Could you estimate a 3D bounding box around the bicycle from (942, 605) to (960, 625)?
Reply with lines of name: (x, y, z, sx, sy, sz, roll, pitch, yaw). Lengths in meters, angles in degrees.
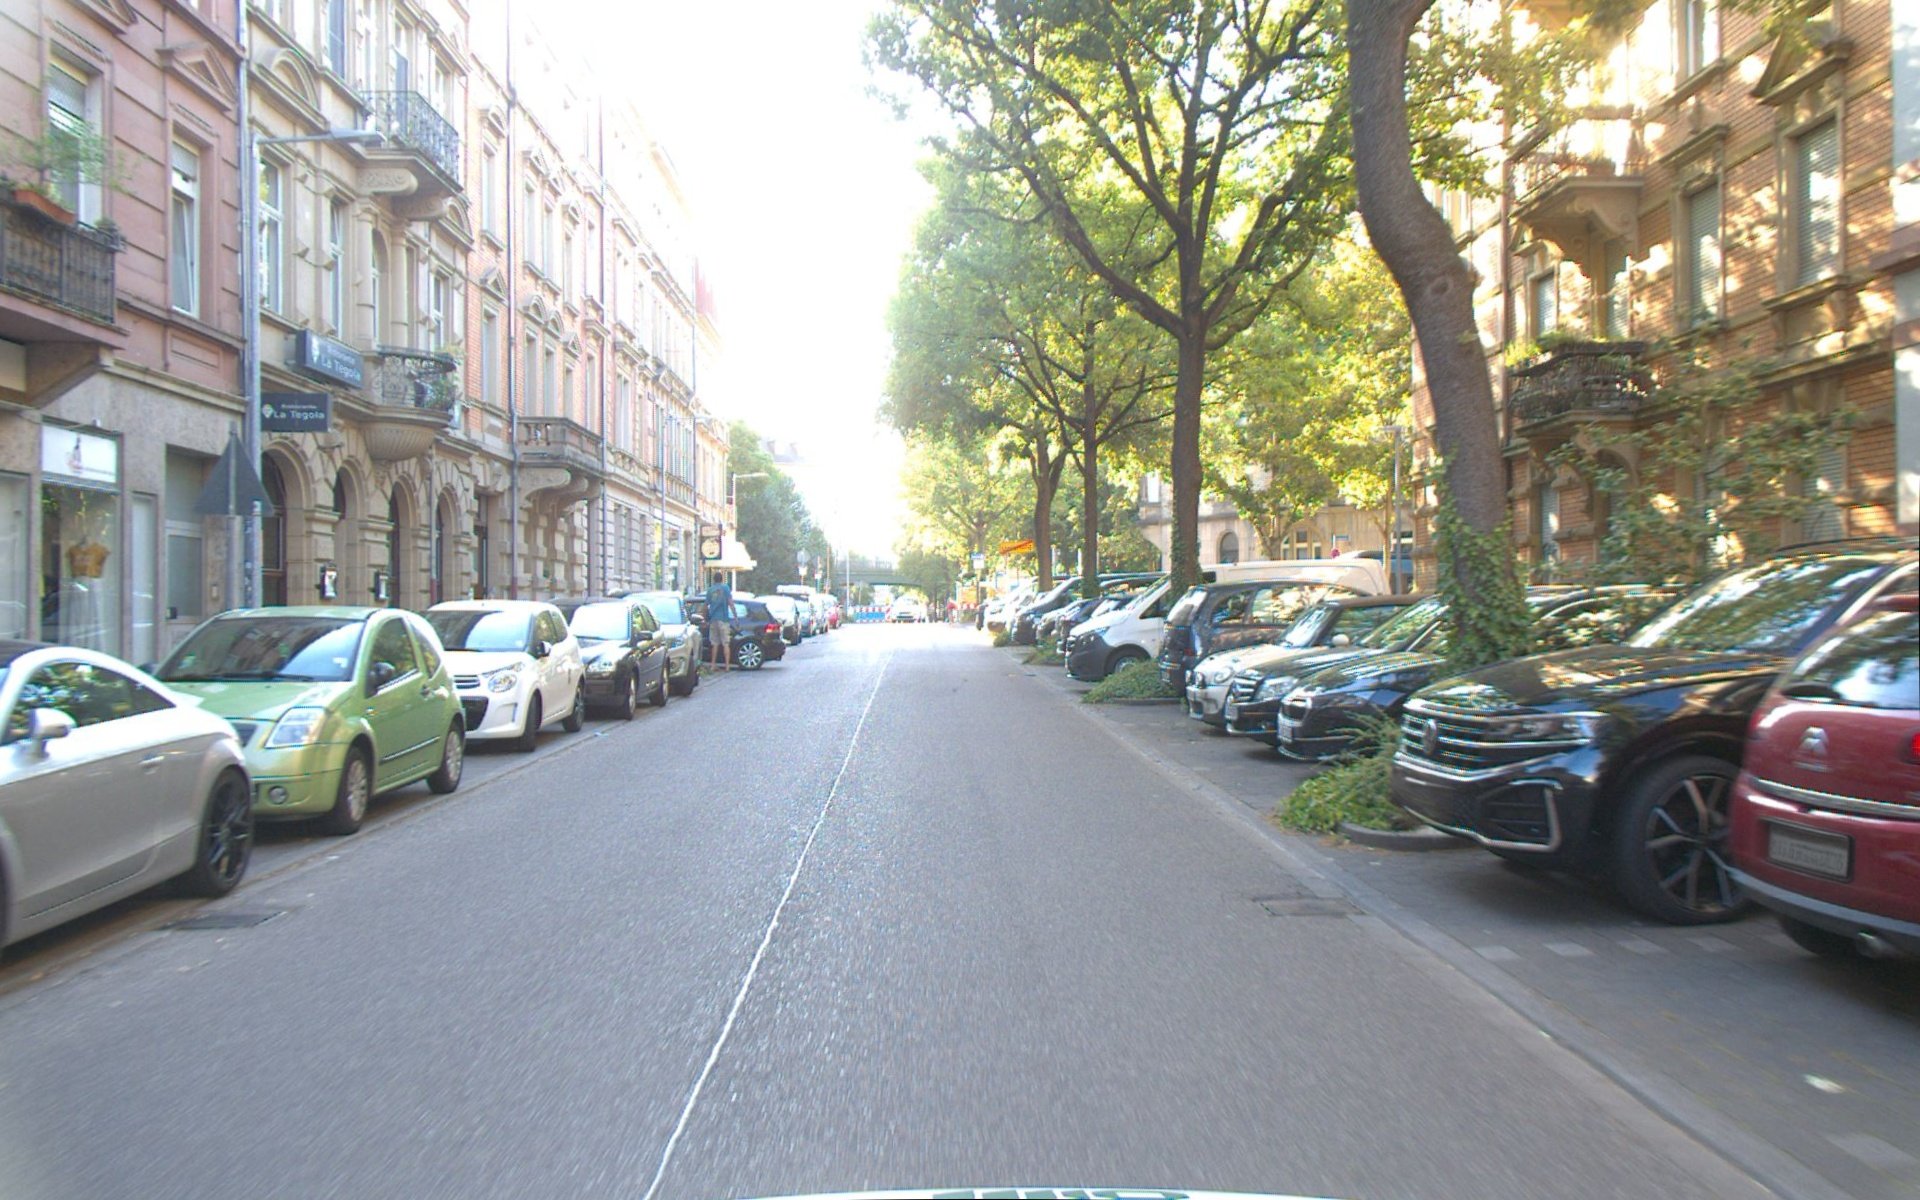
bicycle: (-0.454, 0.726, 81.599, 0.787, 0.985, 2.107, 1, 0, -2)

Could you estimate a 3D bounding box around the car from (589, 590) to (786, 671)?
car: (-5.608, 0.605, 34.361, 3.912, 1.556, 1.823, -1, 0, -8)

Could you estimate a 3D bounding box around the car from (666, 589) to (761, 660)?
car: (-5.787, 0.540, 39.179, 1.706, 1.594, 3.894, -1, 0, -1)

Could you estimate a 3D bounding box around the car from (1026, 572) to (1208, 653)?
car: (3.827, 0.300, 40.838, 4.185, 1.918, 1.937, -1, 0, -5)

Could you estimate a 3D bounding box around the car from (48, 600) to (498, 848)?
car: (-4.708, 0.749, 11.987, 1.671, 1.464, 3.958, -1, 0, -1)

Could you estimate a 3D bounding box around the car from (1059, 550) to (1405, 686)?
car: (4.117, 0.315, 25.743, 4.989, 1.974, 2.157, 0, -3, -2)

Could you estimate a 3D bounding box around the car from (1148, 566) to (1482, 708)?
car: (4.454, 0.441, 21.062, 3.810, 1.678, 1.722, -1, 0, -7)

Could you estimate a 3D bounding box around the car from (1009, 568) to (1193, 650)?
car: (3.623, 0.227, 43.092, 4.524, 2.049, 1.998, -1, 0, -4)

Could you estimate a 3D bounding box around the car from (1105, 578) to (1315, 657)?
car: (5.086, 0.344, 33.950, 3.998, 1.524, 1.843, -1, 0, -1)

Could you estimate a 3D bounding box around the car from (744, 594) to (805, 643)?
car: (-5.862, 0.551, 52.572, 1.669, 1.479, 4.018, 0, 0, -3)

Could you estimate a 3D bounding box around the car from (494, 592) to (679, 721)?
car: (-4.860, 0.674, 22.016, 1.614, 1.498, 3.998, 2, 0, -2)

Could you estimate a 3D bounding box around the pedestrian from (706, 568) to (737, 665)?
pedestrian: (-4.798, 0.330, 33.316, 0.578, 1.921, 0.639, -1, 0, -6)

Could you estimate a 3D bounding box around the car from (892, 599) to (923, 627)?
car: (-2.999, 0.729, 94.421, 1.714, 1.535, 3.999, 0, 0, -2)

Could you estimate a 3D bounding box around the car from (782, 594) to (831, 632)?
car: (-6.285, 0.522, 67.953, 1.690, 1.462, 3.995, 2, 0, -1)

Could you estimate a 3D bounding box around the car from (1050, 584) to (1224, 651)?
car: (4.060, 0.395, 38.413, 3.903, 1.473, 1.891, -1, 0, 3)

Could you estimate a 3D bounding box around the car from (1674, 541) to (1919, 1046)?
car: (4.964, 0.590, 6.098, 3.909, 1.618, 1.781, -1, 0, -5)

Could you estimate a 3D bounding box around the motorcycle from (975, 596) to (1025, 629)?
motorcycle: (1.650, 0.523, 69.269, 1.983, 1.307, 0.903, -2, 0, -3)

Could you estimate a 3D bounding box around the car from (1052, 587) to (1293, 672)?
car: (3.950, 0.535, 31.280, 4.281, 1.481, 1.933, -1, 0, -1)

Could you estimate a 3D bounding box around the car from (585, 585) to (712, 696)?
car: (-4.983, 0.595, 26.895, 1.616, 1.601, 4.044, 2, 0, -6)

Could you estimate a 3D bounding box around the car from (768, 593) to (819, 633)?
car: (-6.281, 0.454, 62.734, 1.729, 1.462, 4.298, 0, 0, -3)

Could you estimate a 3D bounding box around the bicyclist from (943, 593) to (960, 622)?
bicyclist: (-0.437, 0.357, 81.488, 0.787, 1.407, 0.985, 1, 0, -2)

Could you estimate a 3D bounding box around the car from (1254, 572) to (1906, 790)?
car: (4.752, 0.592, 13.198, 4.459, 1.556, 2.000, -1, 0, 0)

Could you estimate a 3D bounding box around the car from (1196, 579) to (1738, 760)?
car: (4.741, 0.592, 15.739, 4.575, 1.529, 1.927, -1, 0, -11)

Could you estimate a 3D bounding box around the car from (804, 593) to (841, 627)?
car: (-6.489, 0.458, 78.282, 1.636, 1.557, 3.997, 0, 0, -4)

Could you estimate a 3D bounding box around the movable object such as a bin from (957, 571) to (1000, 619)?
movable object such as a bin: (1.089, -0.261, 96.155, 1.951, 2.747, 3.113, 0, -1, 11)

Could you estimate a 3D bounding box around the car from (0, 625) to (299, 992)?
car: (-4.546, 0.834, 7.312, 1.671, 1.346, 4.100, -1, 0, -1)

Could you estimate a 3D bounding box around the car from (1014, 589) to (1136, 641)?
car: (3.653, 0.470, 53.096, 3.763, 1.623, 1.740, 0, 0, -2)

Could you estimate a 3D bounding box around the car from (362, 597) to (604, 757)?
car: (-4.993, 0.731, 17.821, 1.550, 1.498, 3.998, -1, 0, -2)

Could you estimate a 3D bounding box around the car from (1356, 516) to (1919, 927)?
car: (4.555, 0.471, 8.390, 4.554, 1.732, 1.880, -2, 0, -5)

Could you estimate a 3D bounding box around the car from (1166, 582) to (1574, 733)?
car: (4.456, 0.594, 18.313, 4.026, 1.529, 1.809, -1, 0, -6)

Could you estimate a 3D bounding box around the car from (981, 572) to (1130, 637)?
car: (3.183, 0.151, 56.024, 4.873, 2.132, 2.105, 0, 0, -2)

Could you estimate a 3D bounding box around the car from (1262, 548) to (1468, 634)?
car: (12.569, -0.285, 51.561, 5.783, 2.582, 2.376, 0, 0, -8)

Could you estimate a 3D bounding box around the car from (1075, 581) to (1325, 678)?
car: (4.119, 0.481, 28.624, 3.914, 1.500, 1.778, -2, 0, -9)
